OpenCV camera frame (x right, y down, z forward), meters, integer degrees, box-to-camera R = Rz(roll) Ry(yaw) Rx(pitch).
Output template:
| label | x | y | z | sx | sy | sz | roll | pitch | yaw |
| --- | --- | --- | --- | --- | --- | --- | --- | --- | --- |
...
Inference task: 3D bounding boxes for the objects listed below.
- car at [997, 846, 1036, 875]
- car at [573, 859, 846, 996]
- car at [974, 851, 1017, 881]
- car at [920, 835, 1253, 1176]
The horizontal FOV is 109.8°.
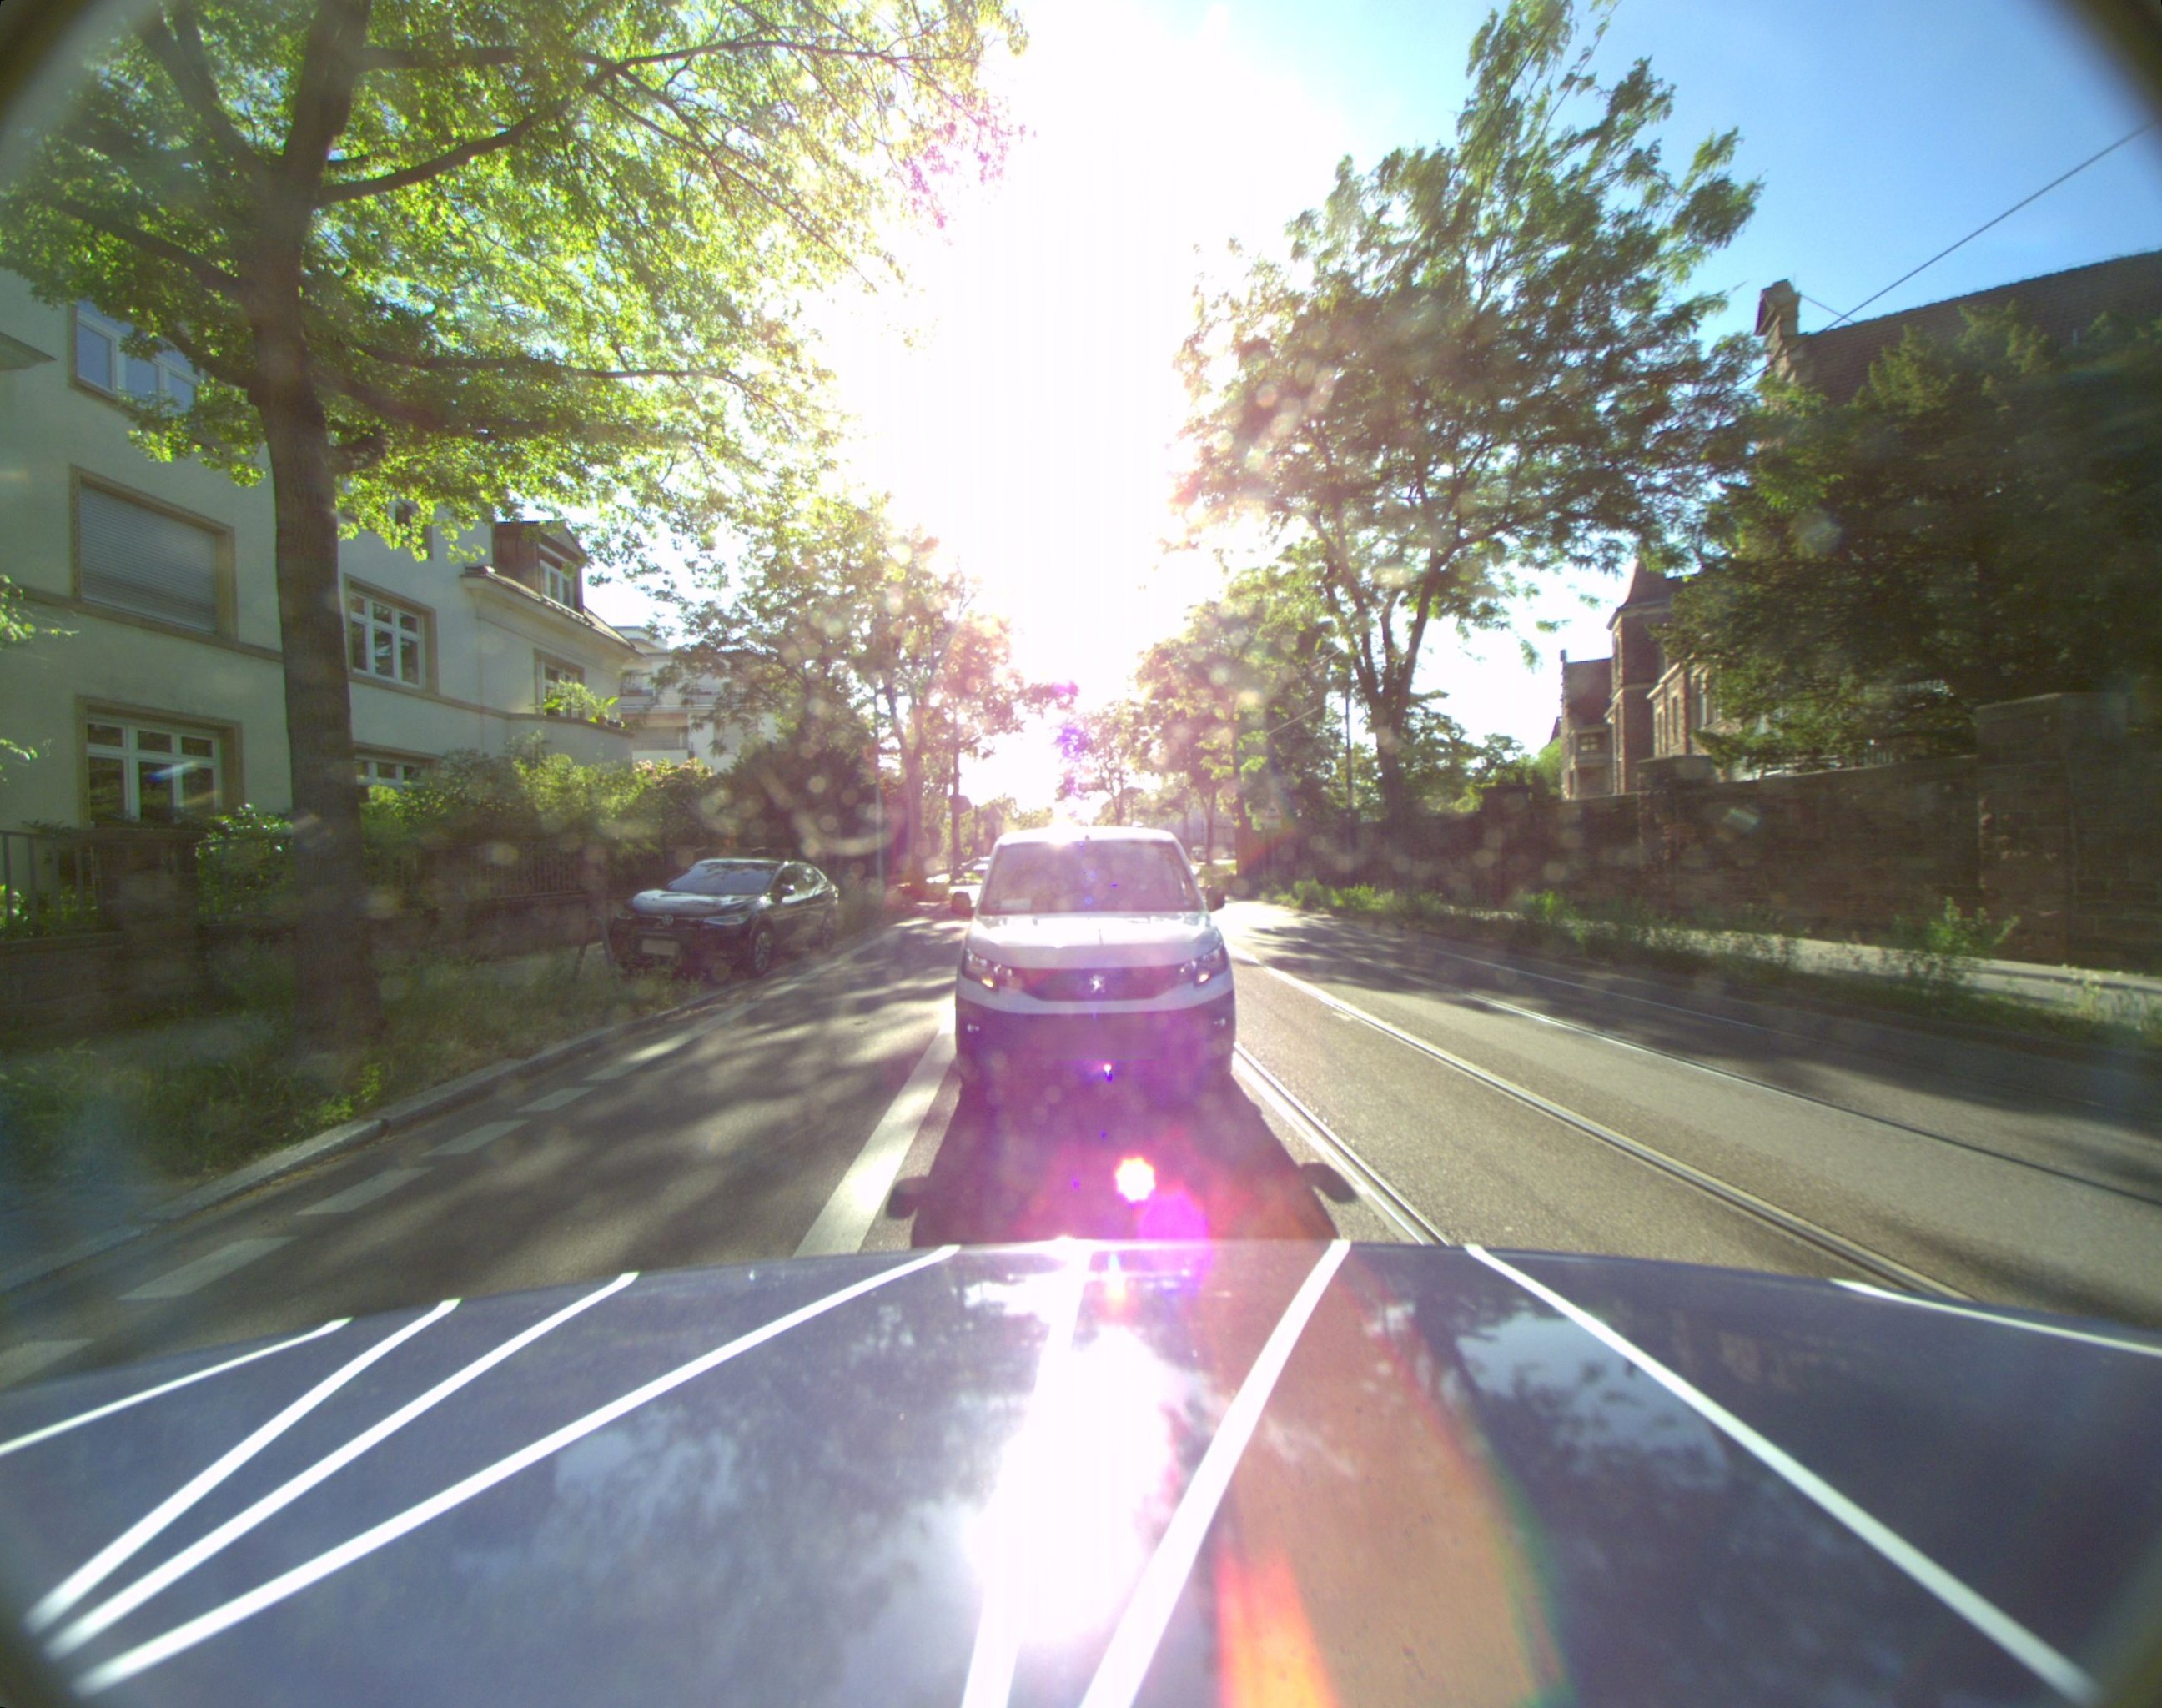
| label | x | y | z | sx | sy | sz | roll | pitch | yaw |
| --- | --- | --- | --- | --- | --- | --- | --- | --- | --- |
| car | -4.333 | 0.416 | 51.986 | 2.129 | 1.884 | 4.746 | -2 | 0 | 1 |
| car | -5.253 | 0.939 | 11.550 | 1.999 | 1.665 | 4.380 | 1 | -1 | 0 |
| car | -5.045 | 0.669 | 45.267 | 1.823 | 1.630 | 4.001 | -2 | 0 | 4 |
| car | 0.024 | 0.811 | 6.092 | 1.768 | 1.812 | 3.999 | -1 | 0 | 0 |
